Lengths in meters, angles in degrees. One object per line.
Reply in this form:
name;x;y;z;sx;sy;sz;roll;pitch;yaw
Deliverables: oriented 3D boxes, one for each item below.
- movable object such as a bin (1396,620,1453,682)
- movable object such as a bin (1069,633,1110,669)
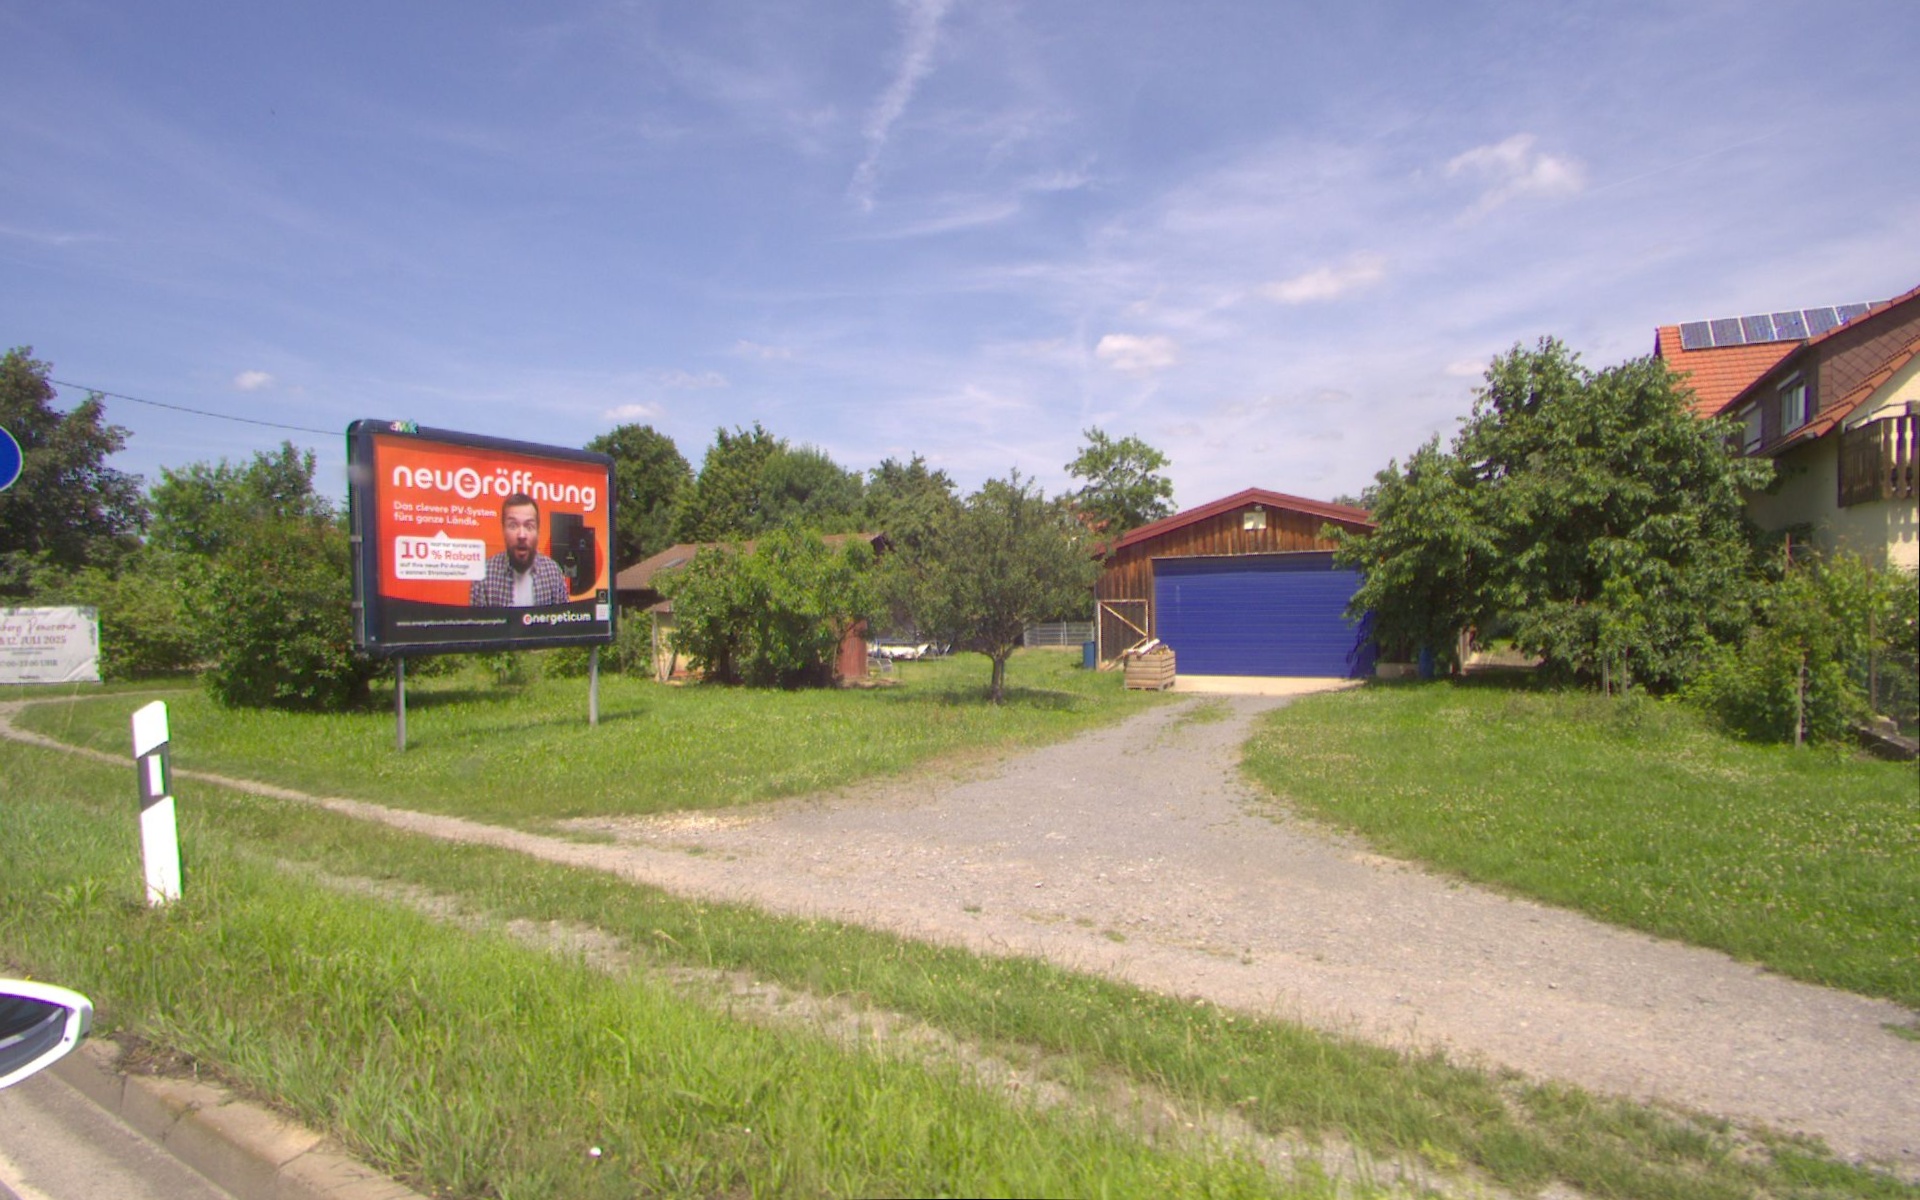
movable object such as a bin;11.038;1.182;23.784;1.049;1.415;1.271;0;0;33
movable object such as a bin;3.860;1.509;29.812;1.044;1.046;1.040;0;0;17
